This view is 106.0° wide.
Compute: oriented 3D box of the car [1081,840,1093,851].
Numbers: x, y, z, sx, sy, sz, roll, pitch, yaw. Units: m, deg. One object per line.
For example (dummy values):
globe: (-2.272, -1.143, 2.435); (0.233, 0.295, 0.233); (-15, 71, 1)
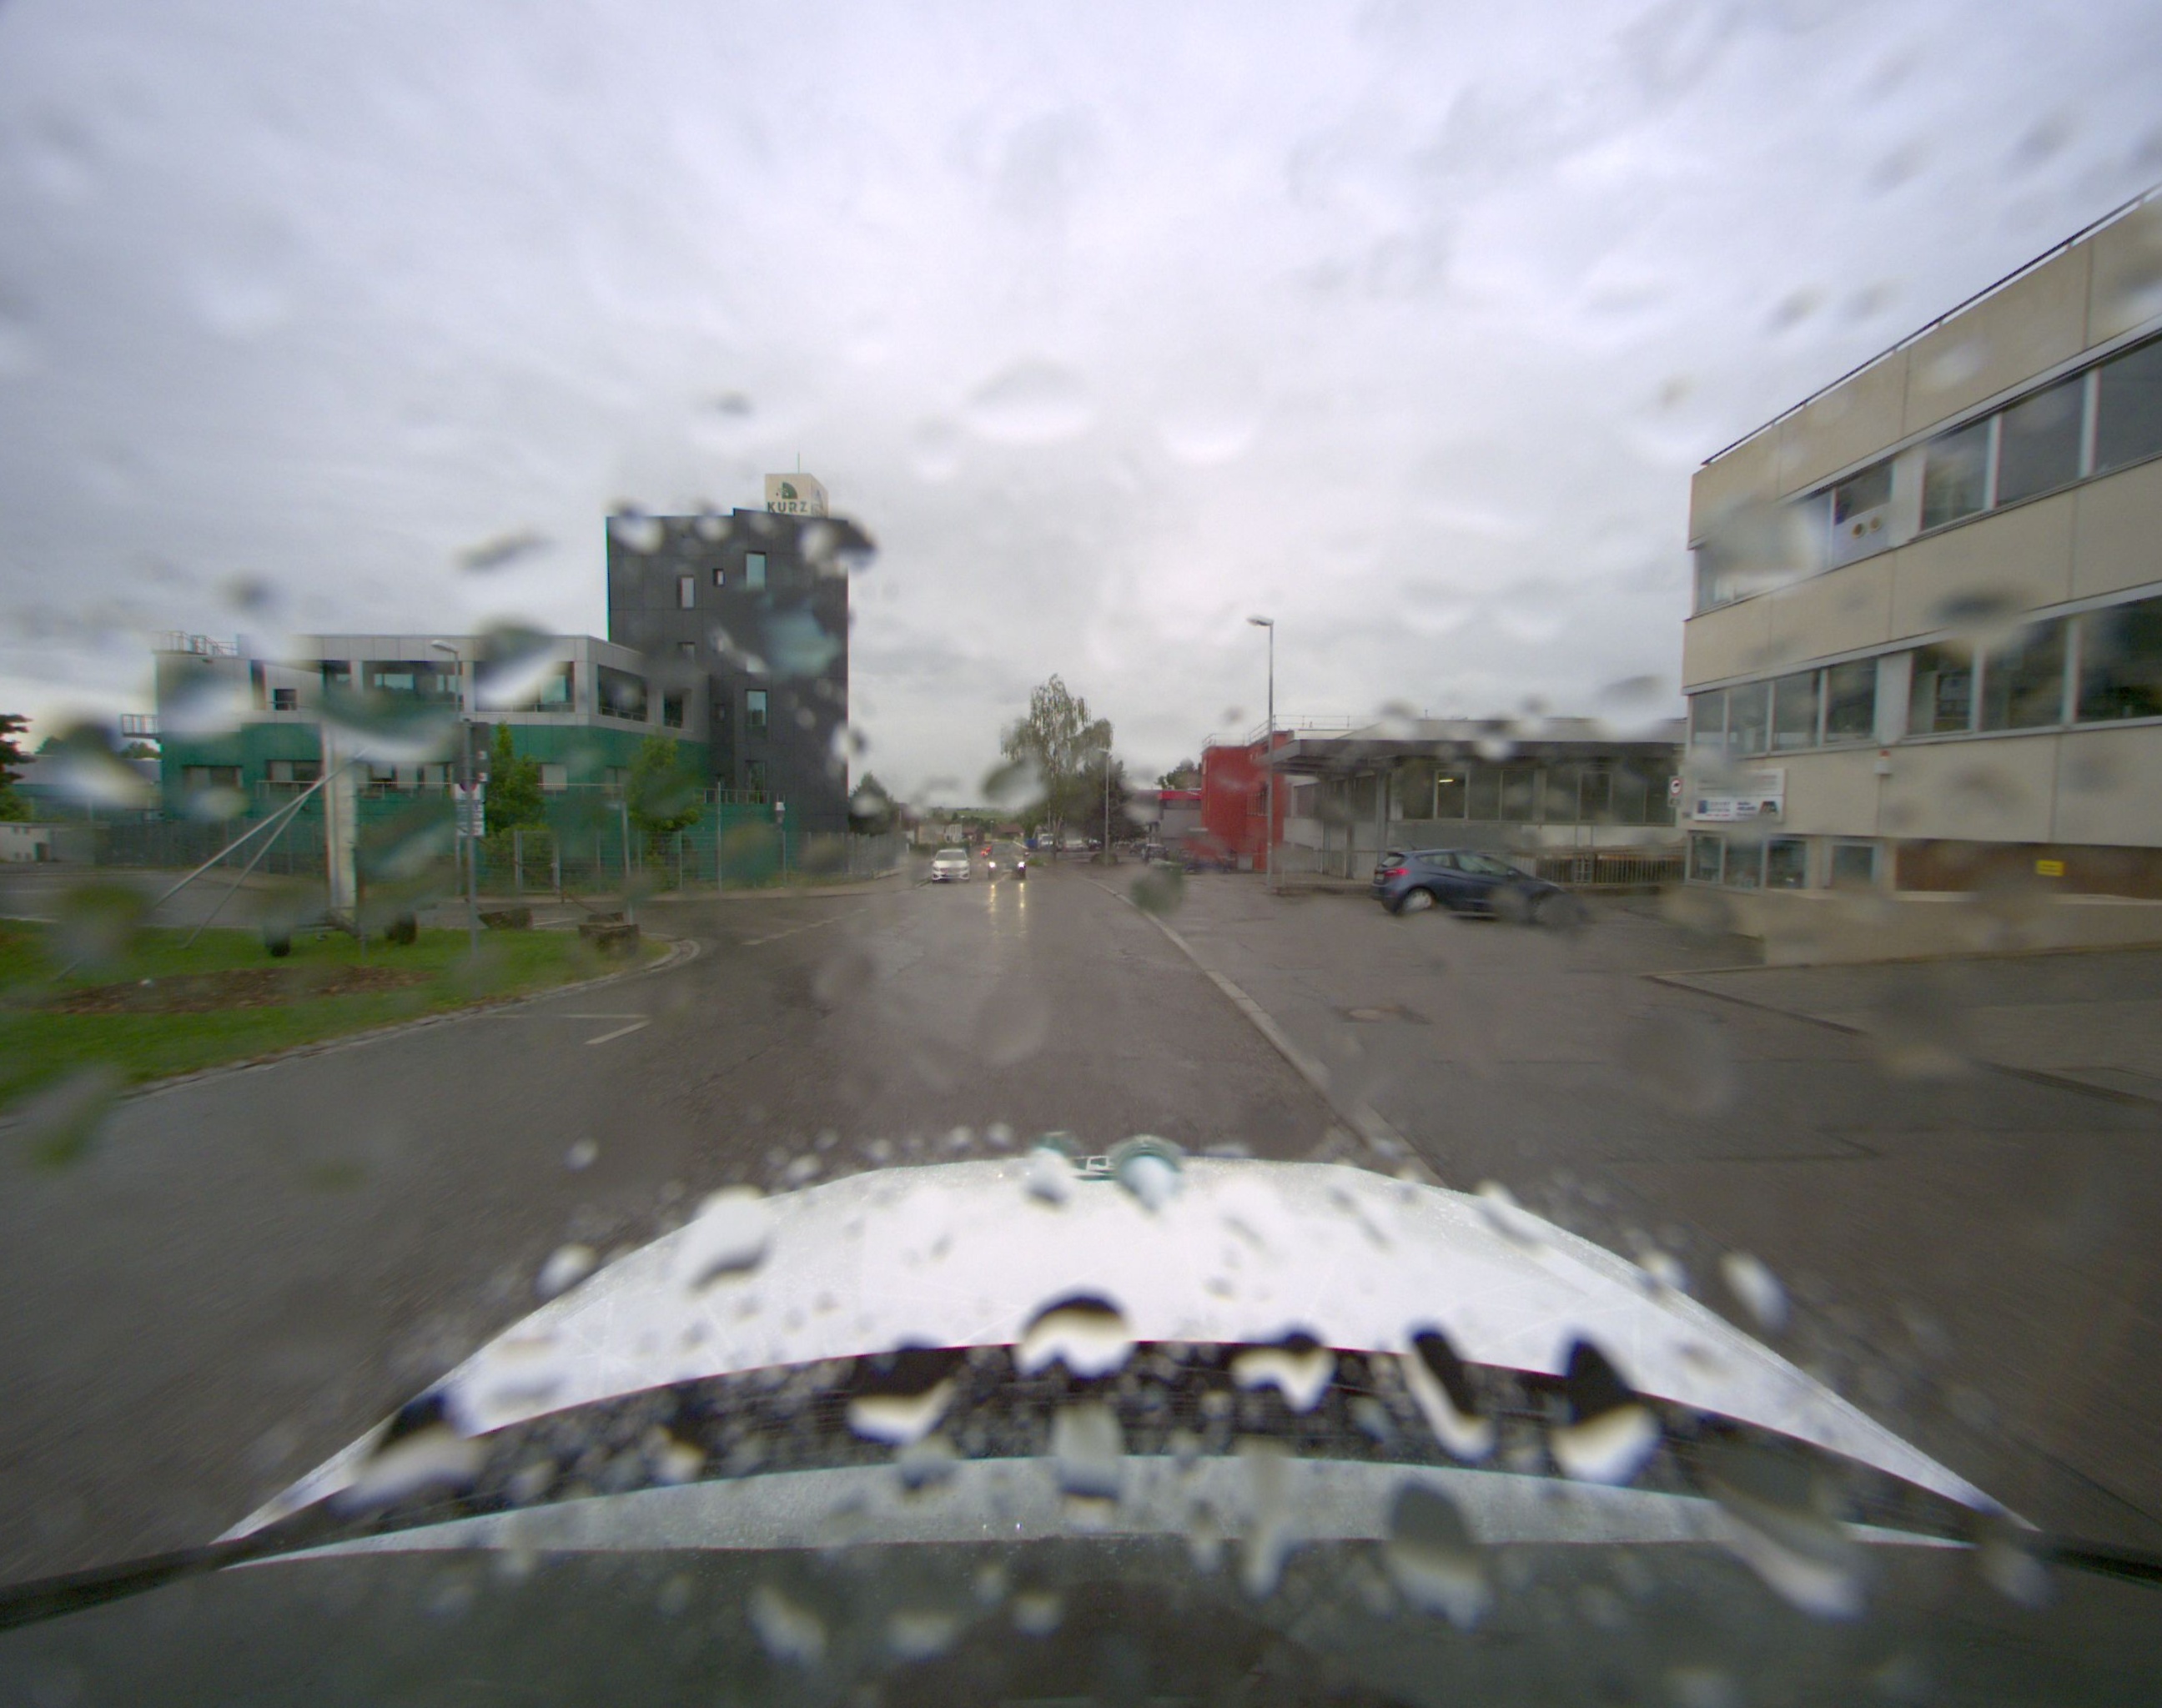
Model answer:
car: (0.786, -1.119, 104.260); (1.395, 1.326, 2.697); (0, -1, -3)

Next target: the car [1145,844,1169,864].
car: (5.793, 0.038, 62.435); (1.690, 1.475, 4.003); (0, -1, 3)

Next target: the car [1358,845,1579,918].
car: (8.197, 0.564, 17.506); (3.879, 1.383, 1.822); (2, -1, 2)

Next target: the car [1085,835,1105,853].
car: (1.631, -1.198, 98.577); (2.141, 2.014, 3.934); (0, -1, -3)

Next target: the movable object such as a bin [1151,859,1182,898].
movable object such as a bin: (2.379, 0.681, 22.723); (0.773, 1.076, 0.583); (-1, 0, -2)

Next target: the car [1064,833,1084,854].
car: (-0.873, -1.252, 97.725); (2.189, 2.459, 3.993); (0, -1, -5)

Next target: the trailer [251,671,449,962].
trailer: (-12.534, -0.531, 13.879); (4.133, 4.203, 2.018); (-1, 0, 41)

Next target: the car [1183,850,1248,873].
car: (7.290, 0.396, 44.504); (3.384, 1.163, 1.794); (0, 0, 5)

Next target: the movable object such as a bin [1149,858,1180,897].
movable object such as a bin: (2.377, 0.676, 23.299); (0.807, 1.090, 0.541); (-1, 0, -2)

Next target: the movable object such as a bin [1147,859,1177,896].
movable object such as a bin: (2.360, 0.678, 23.860); (0.807, 1.076, 0.581); (-1, 0, -2)

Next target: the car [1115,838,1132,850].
car: (5.472, -1.312, 104.668); (1.635, 1.453, 3.503); (0, -1, -6)

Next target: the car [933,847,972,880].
car: (-6.265, 0.452, 39.794); (1.769, 1.513, 4.133); (-1, -1, -8)

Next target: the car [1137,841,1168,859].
car: (6.115, -0.313, 69.914); (2.061, 1.552, 3.993); (0, -1, -5)

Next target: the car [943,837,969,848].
car: (-20.848, -1.908, 135.972); (3.970, 1.881, 2.002); (0, 0, 3)

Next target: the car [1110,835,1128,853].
car: (4.591, -1.202, 98.836); (1.777, 2.014, 3.628); (0, -1, -3)

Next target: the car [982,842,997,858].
car: (-11.927, -0.466, 106.725); (1.867, 2.029, 3.992); (0, -1, -6)

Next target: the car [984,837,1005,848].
car: (-18.934, -2.463, 177.603); (4.215, 2.226, 2.005); (0, -1, 9)

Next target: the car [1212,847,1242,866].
car: (11.082, 0.224, 62.032); (1.722, 1.422, 4.003); (0, -1, 3)

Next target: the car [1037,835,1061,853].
car: (-3.892, -1.197, 97.418); (2.267, 2.014, 3.983); (0, -1, -12)

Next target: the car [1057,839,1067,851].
car: (-2.407, -1.152, 103.396); (1.287, 1.424, 2.543); (0, -1, -3)

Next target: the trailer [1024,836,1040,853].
trailer: (-6.145, -1.170, 101.528); (1.849, 2.013, 3.994); (0, 0, -4)

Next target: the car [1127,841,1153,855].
car: (6.136, -0.622, 84.573); (2.541, 1.352, 1.241); (0, 0, -2)

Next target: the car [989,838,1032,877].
car: (-3.608, 0.143, 42.258); (1.879, 1.886, 5.069); (-1, 0, -1)

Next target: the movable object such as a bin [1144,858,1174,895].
movable object such as a bin: (2.340, 0.665, 24.465); (0.800, 1.079, 0.624); (-1, 0, -2)

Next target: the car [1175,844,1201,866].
car: (8.229, 0.064, 63.004); (1.732, 1.653, 4.003); (0, -1, 3)

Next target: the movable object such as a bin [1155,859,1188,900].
movable object such as a bin: (2.440, 0.679, 22.072); (0.804, 1.092, 0.709); (-1, 0, -2)
